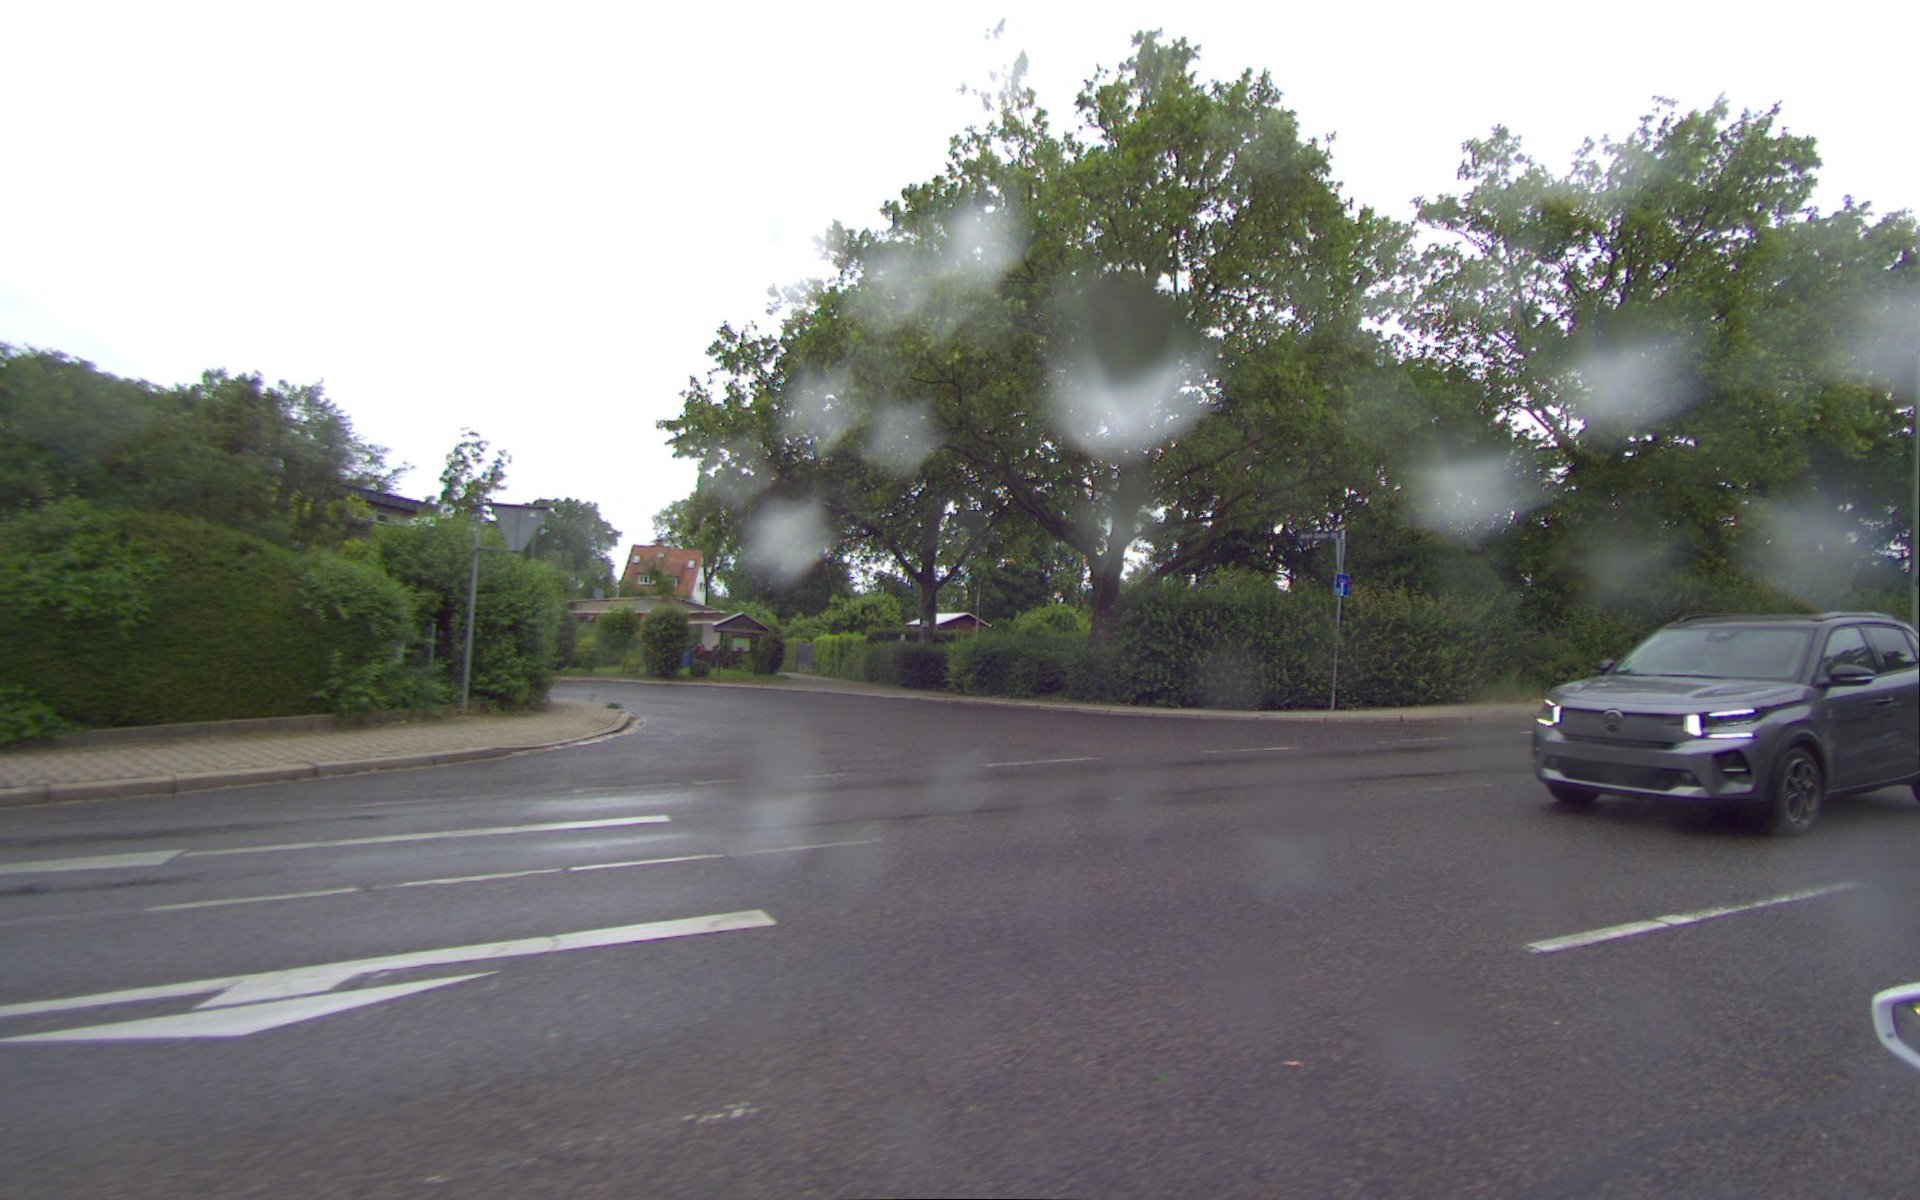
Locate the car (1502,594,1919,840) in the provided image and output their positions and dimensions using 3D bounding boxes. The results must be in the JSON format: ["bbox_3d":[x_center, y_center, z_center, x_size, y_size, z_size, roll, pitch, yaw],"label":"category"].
[{"bbox_3d":[6.493,0.836,8.325,3.684,1.624,1.788,1,-2,-28],"label":"car"}]
